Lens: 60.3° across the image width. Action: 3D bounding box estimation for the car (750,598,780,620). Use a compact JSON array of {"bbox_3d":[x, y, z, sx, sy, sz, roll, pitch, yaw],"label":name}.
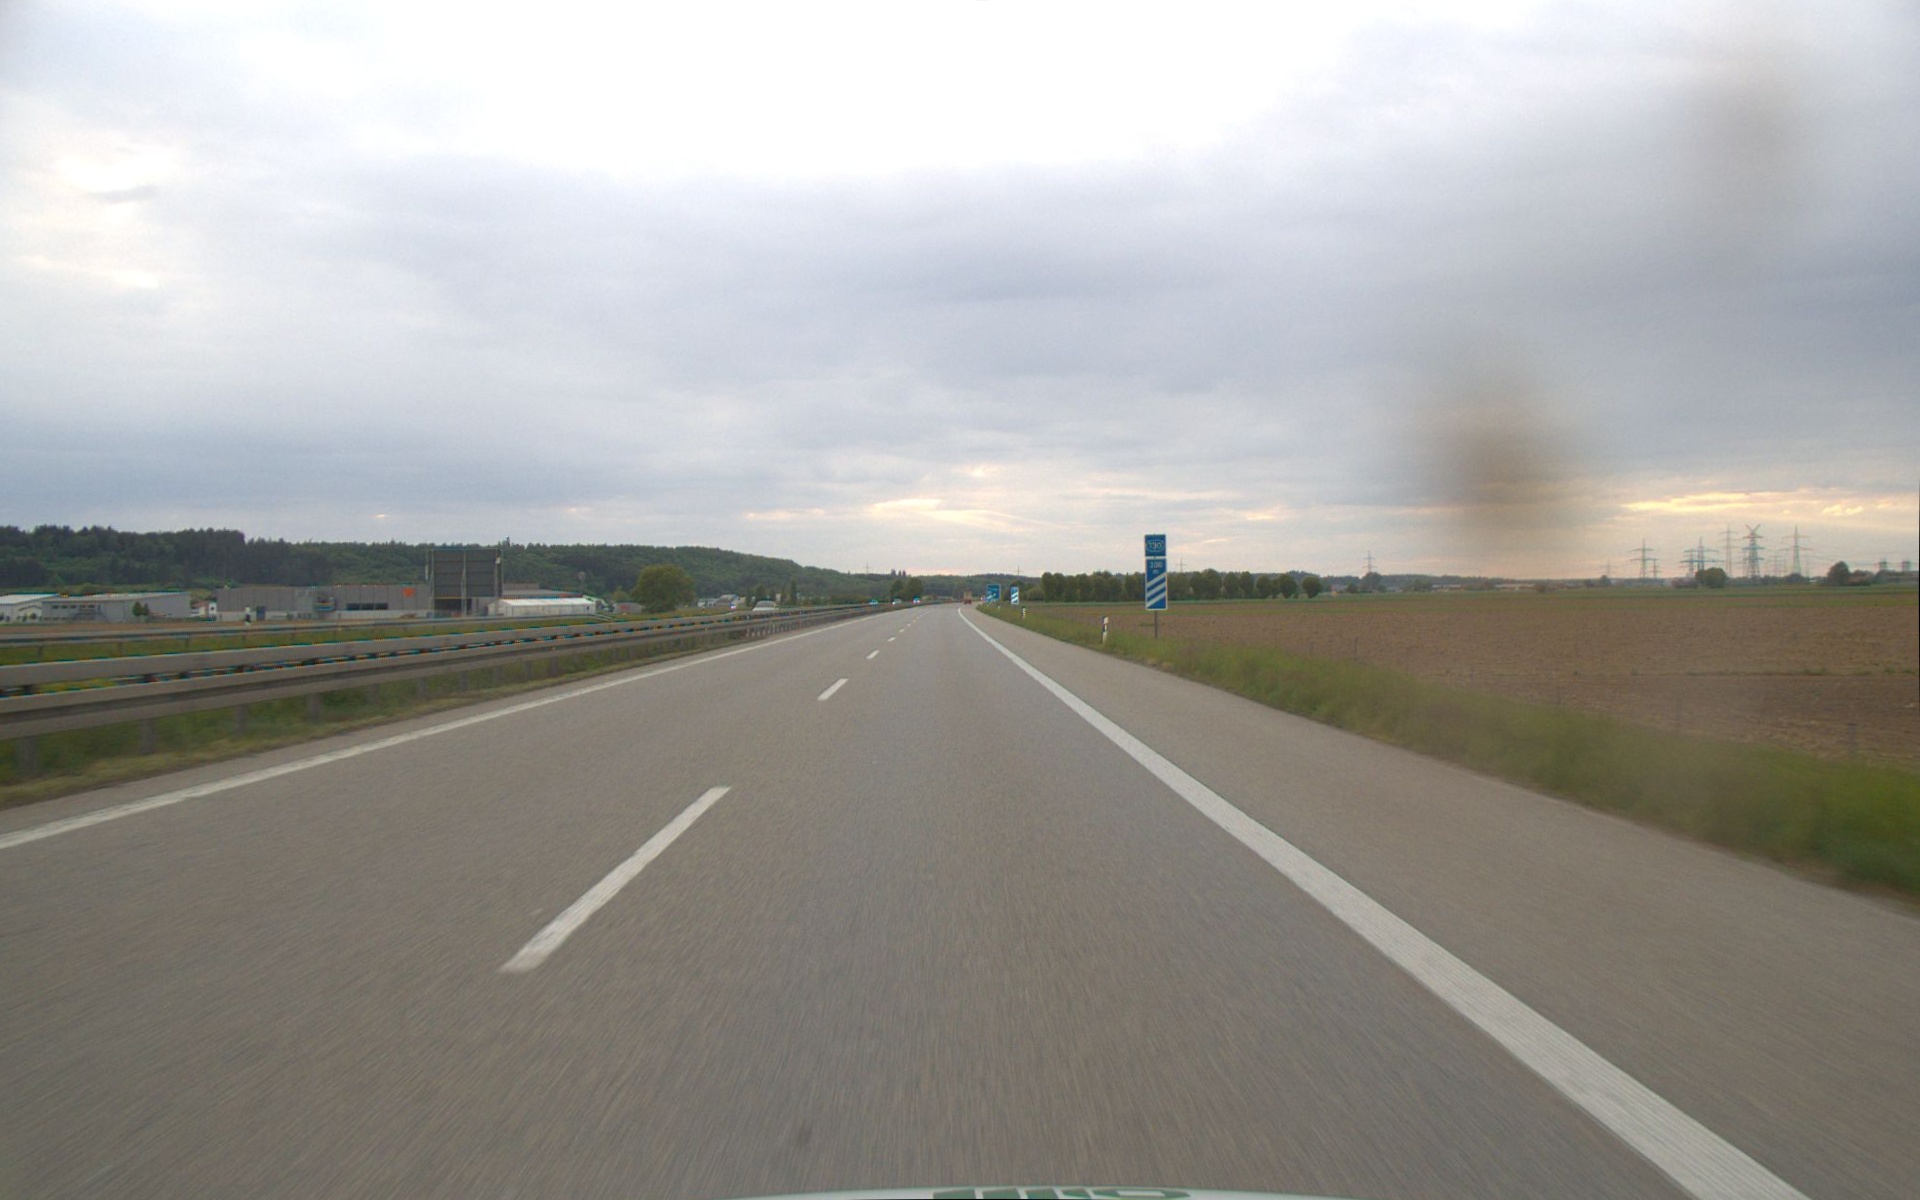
[{"bbox_3d":[-14.931,0.693,126.826,1.705,1.602,4.855,1,0,-1],"label":"car"}]
